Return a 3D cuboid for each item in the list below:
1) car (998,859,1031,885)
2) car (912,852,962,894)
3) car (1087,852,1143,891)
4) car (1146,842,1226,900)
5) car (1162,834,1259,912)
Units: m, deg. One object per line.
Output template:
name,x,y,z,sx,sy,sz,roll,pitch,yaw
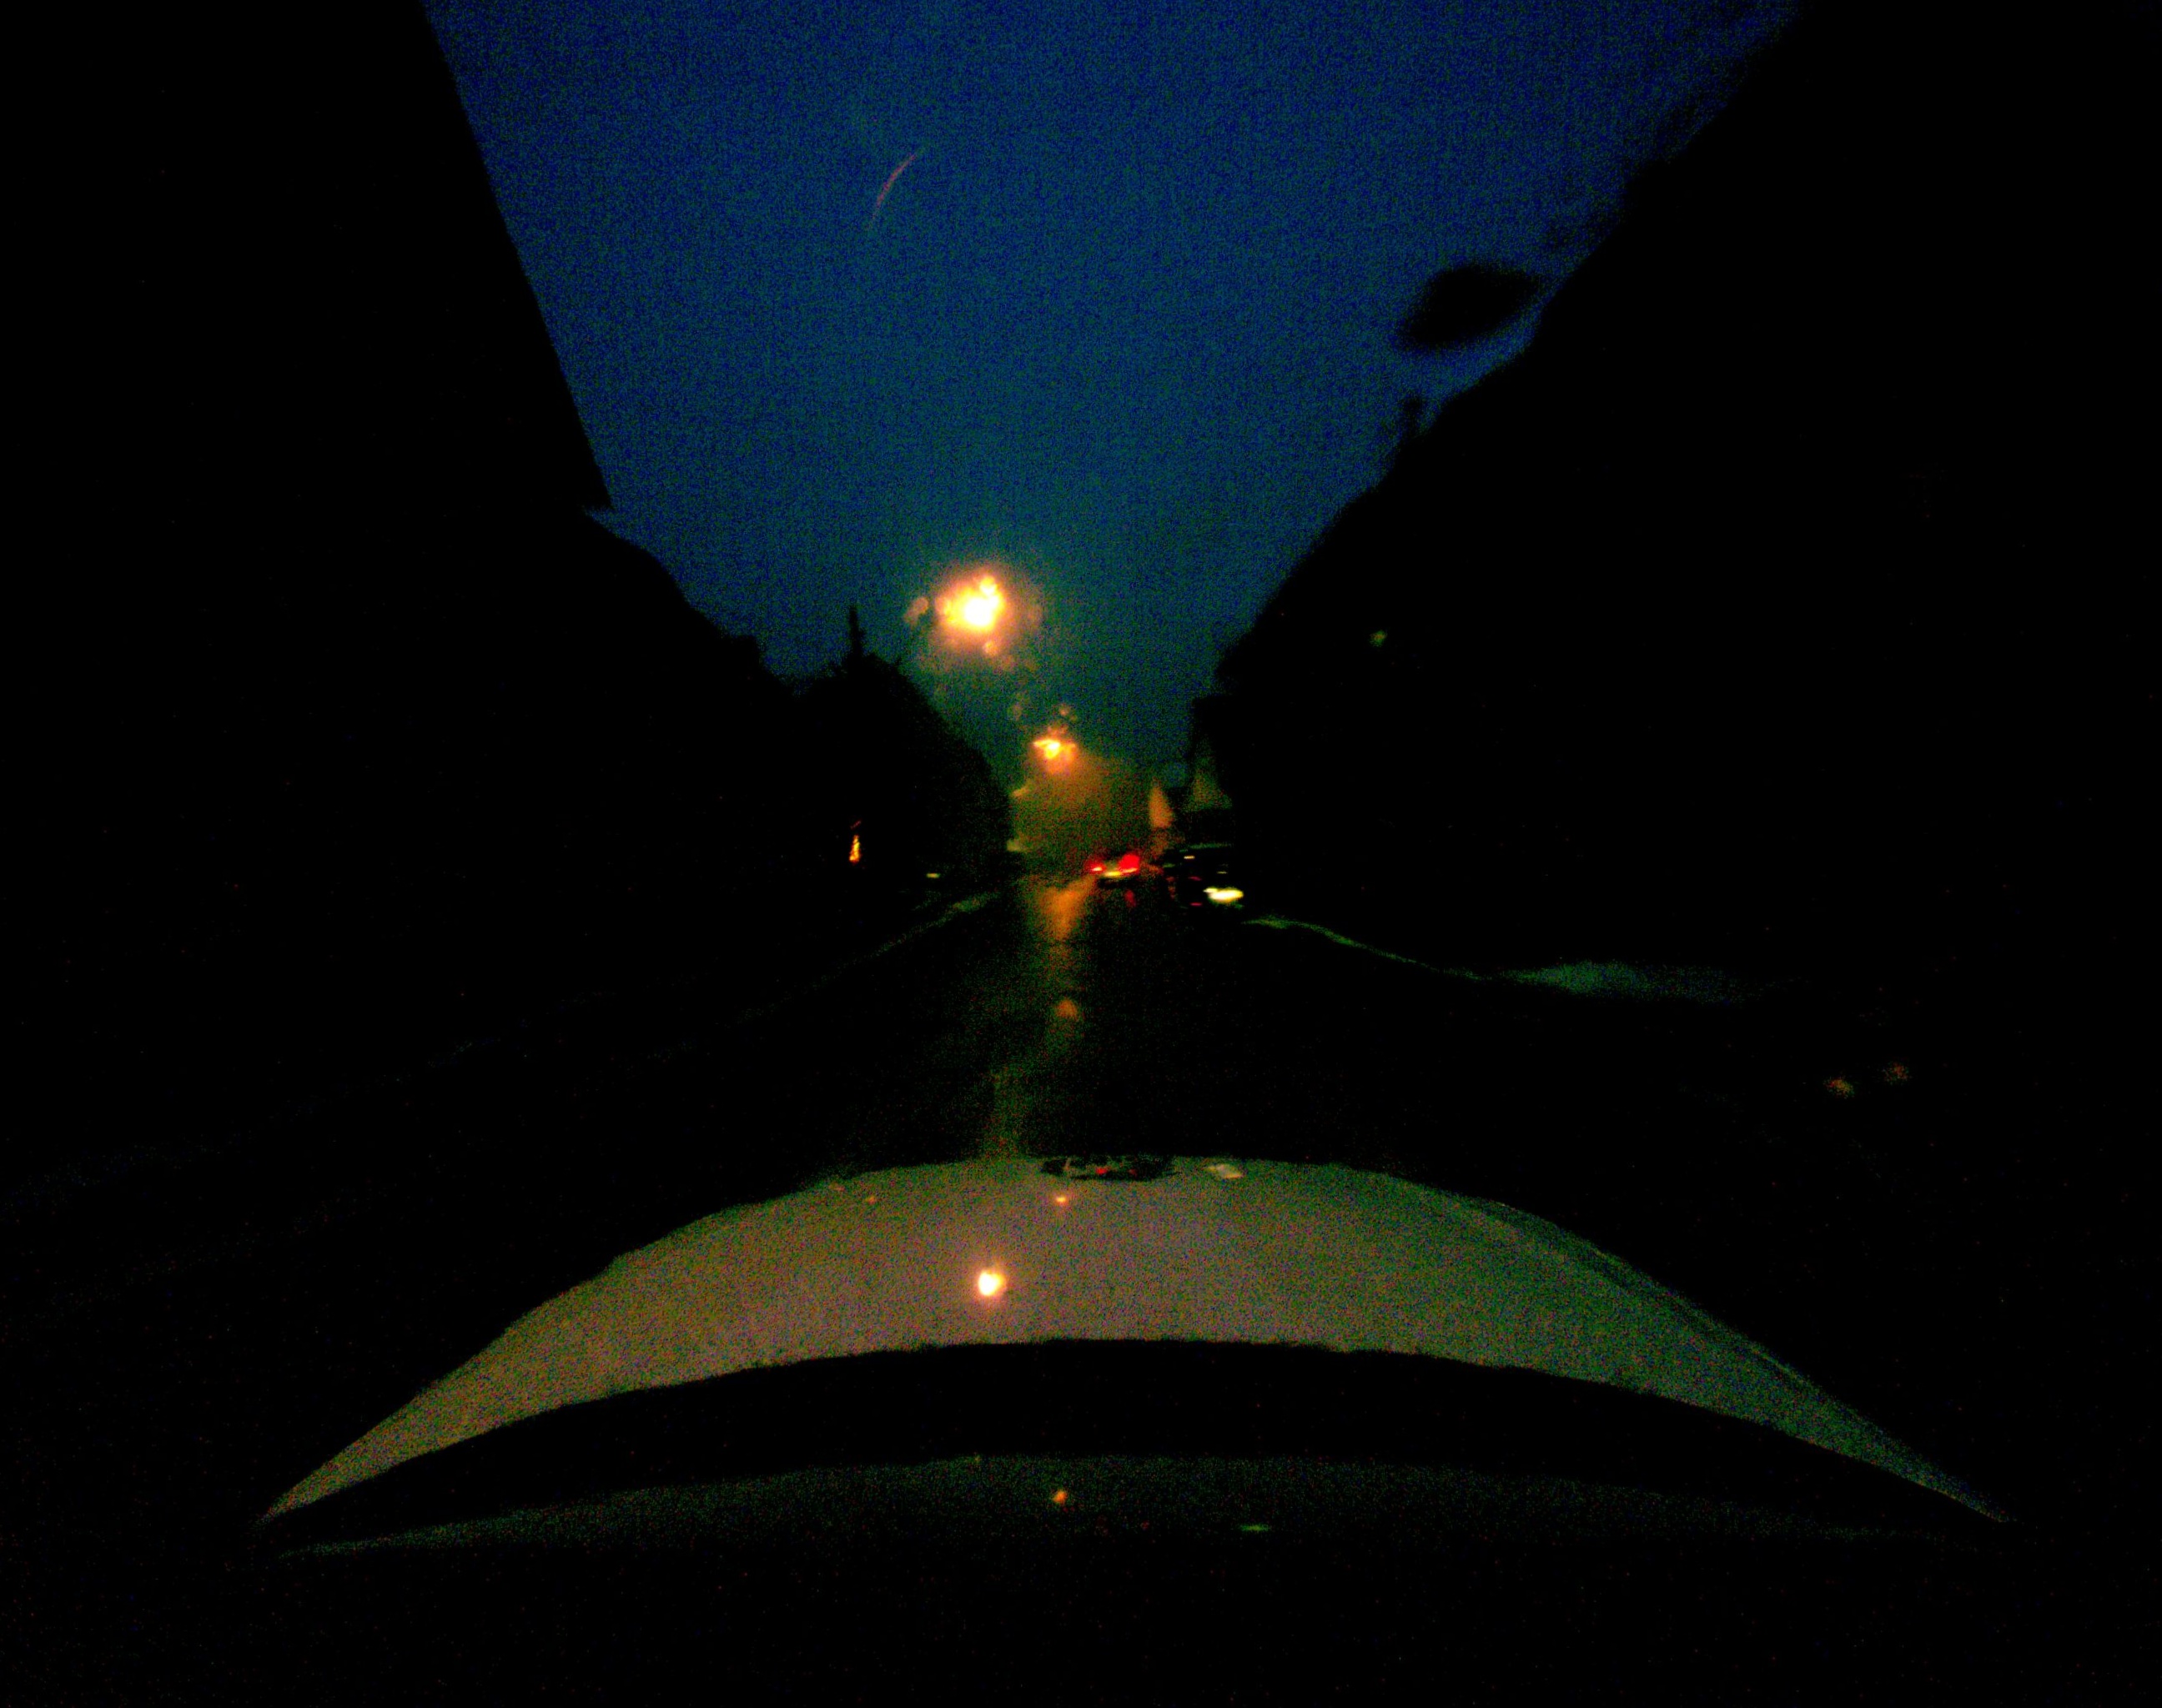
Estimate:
car,-4.391,1.156,54.163,1.989,1.522,4.187,-1,1,-3
car,-6.363,0.844,36.404,1.762,1.736,4.629,1,-1,-6
car,1.481,0.723,33.533,1.983,1.508,4.007,-1,-1,7
car,2.868,0.432,23.083,1.903,1.481,4.284,-1,0,2
car,2.694,0.340,17.718,1.709,1.499,3.911,-1,1,3
